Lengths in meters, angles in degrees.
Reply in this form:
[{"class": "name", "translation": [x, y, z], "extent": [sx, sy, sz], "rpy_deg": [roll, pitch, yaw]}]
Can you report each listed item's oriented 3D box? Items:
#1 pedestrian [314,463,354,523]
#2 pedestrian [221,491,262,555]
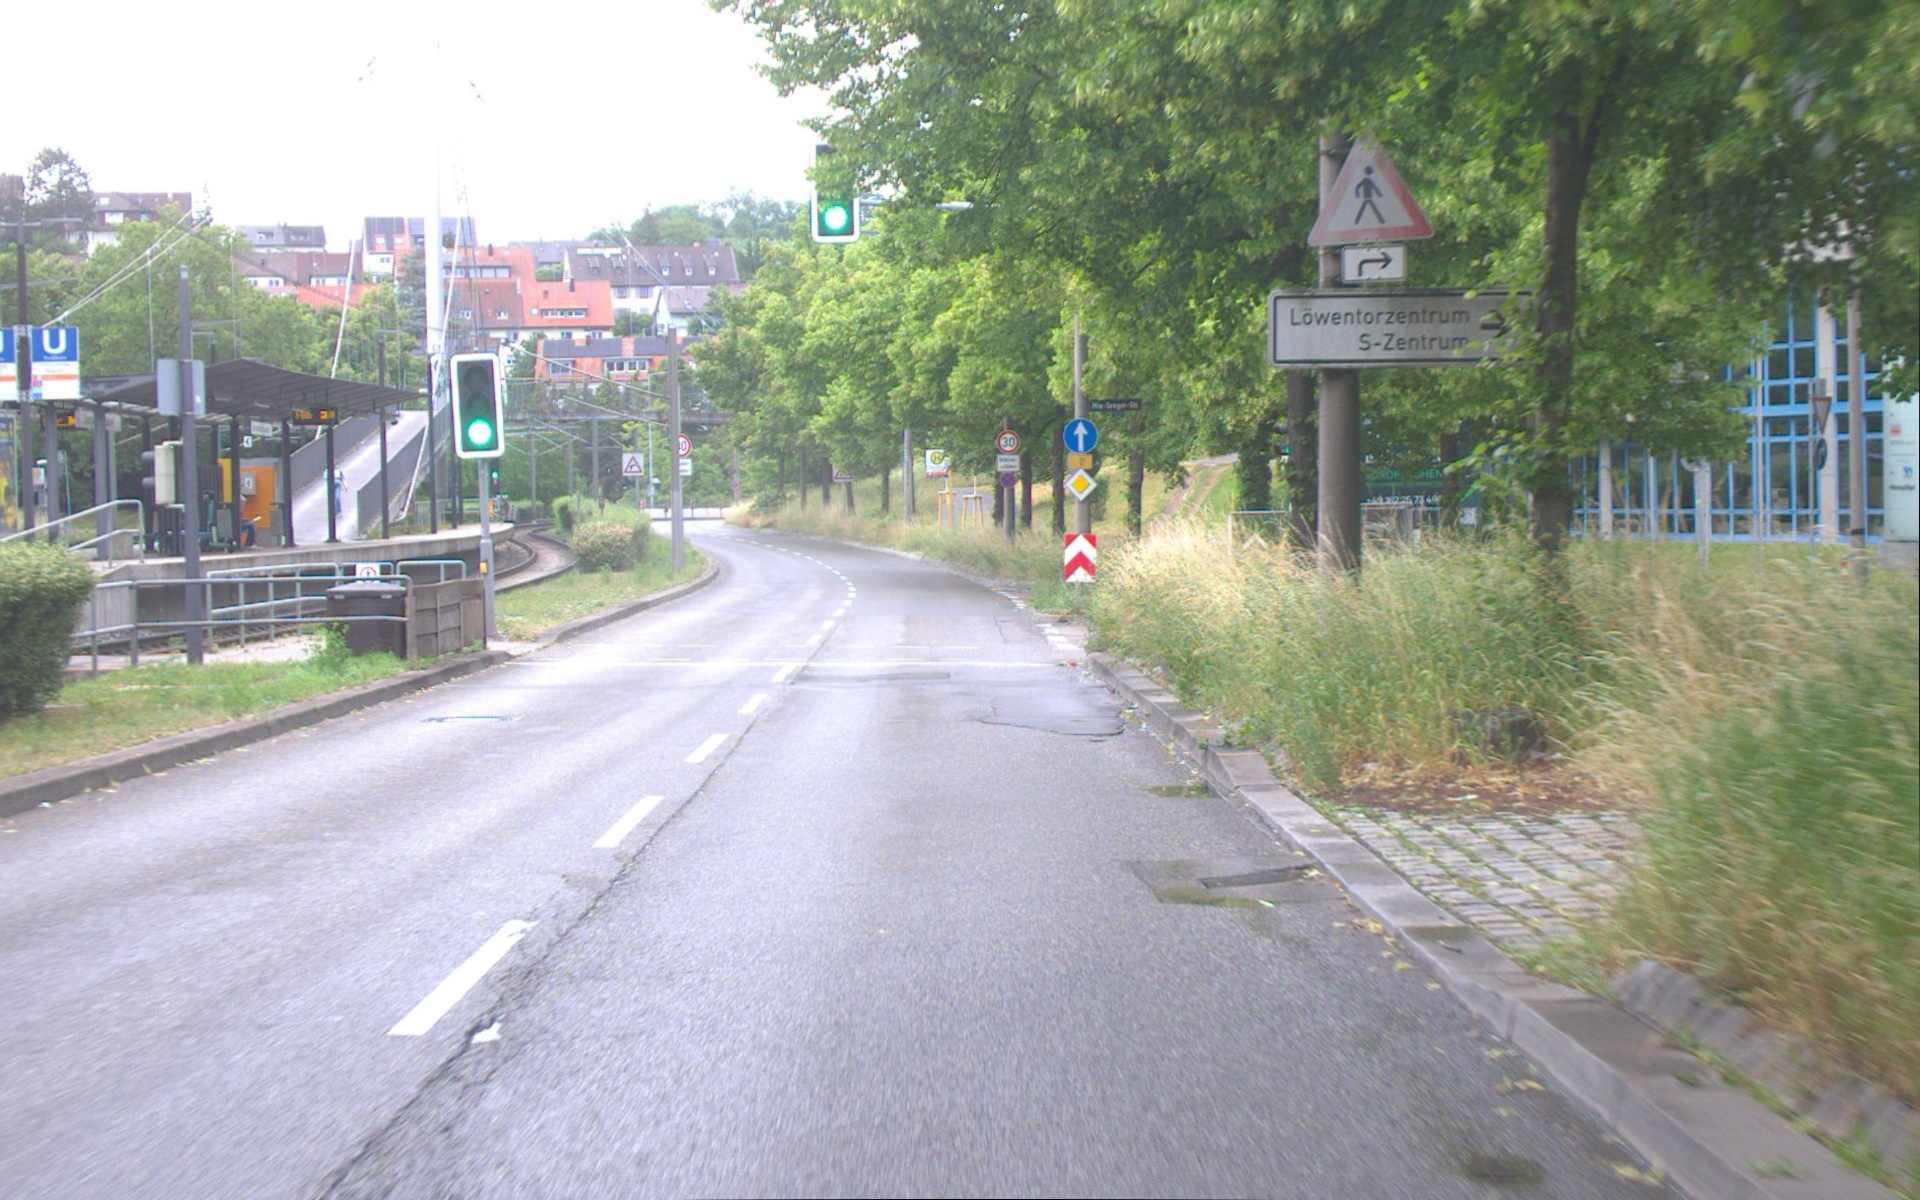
[{"class": "pedestrian", "translation": [-16.762, -2.866, 92.072], "extent": [0.935, 1.605, 1.027], "rpy_deg": [0, 1, -4]}, {"class": "pedestrian", "translation": [-15.047, -1.613, 72.042], "extent": [0.752, 1.351, 0.692], "rpy_deg": [0, 1, -4]}]
